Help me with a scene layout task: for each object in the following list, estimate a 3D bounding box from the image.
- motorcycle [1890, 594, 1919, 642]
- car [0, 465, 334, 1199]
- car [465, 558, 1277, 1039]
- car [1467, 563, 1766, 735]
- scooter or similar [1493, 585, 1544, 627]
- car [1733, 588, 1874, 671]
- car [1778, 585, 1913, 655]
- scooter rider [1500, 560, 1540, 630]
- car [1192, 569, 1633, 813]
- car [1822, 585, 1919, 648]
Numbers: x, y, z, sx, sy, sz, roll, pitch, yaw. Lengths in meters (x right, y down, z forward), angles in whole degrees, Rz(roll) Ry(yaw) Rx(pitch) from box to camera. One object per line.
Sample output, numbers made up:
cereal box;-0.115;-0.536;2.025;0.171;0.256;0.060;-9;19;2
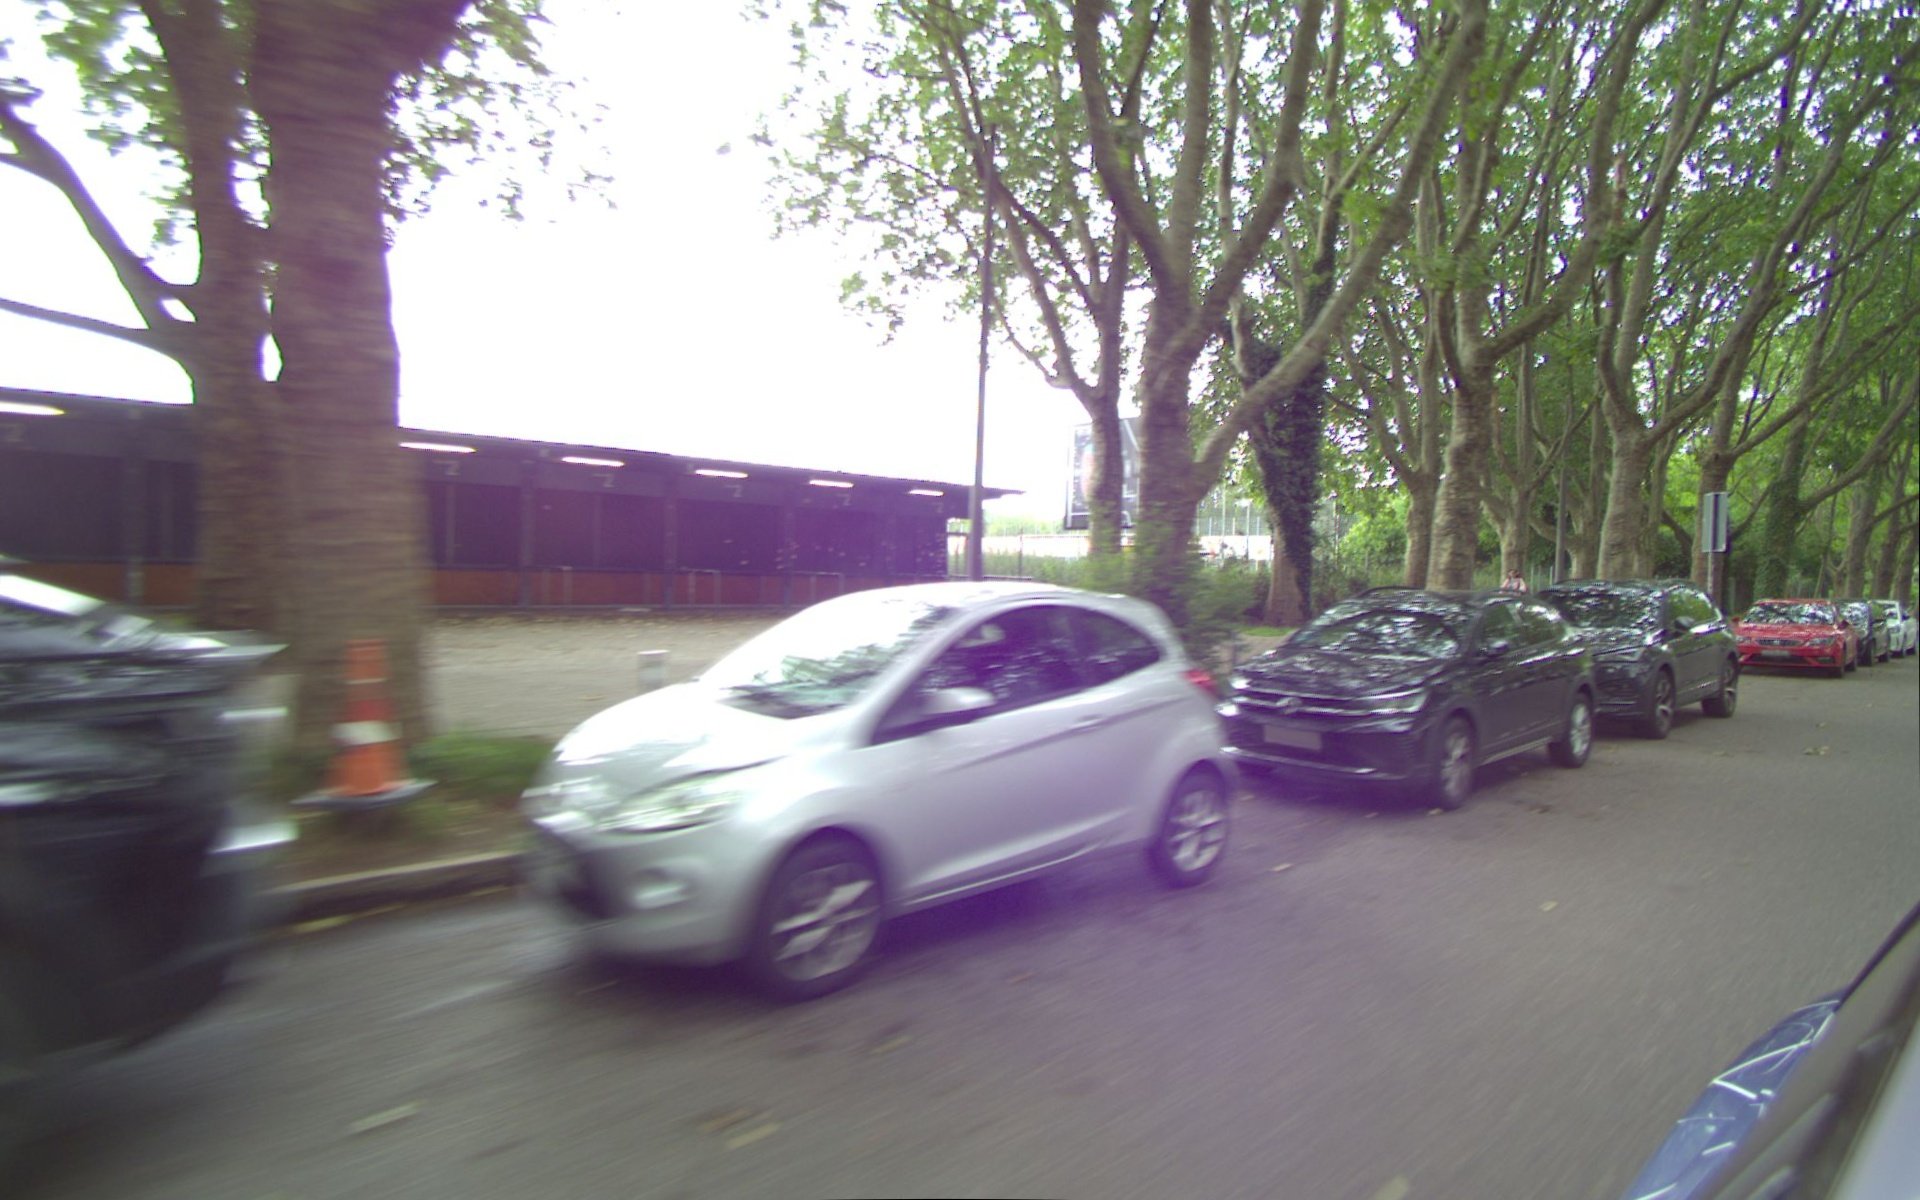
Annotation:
motorcycle;28.048;0.510;29.633;1.953;1.348;0.715;0;1;-33
car;-3.889;0.531;1.742;4.557;1.694;1.781;0;2;-42
car;-0.211;0.595;4.876;3.644;1.460;1.619;0;0;-40
car;7.719;0.455;11.736;4.361;1.640;1.759;0;0;-41
scooter or similar;14.947;0.146;27.072;1.441;1.050;0.682;0;5;-41
car;16.675;0.502;19.925;4.553;1.457;1.717;0;0;-45
car;20.408;0.420;23.285;4.007;1.489;1.733;0;0;-40
scooter rider;14.971;-0.144;27.060;0.577;1.821;0.678;1;4;-40
car;3.907;0.556;8.368;4.277;1.528;1.671;0;0;-41
car;24.046;0.388;26.426;4.051;1.456;1.738;0;2;-41
